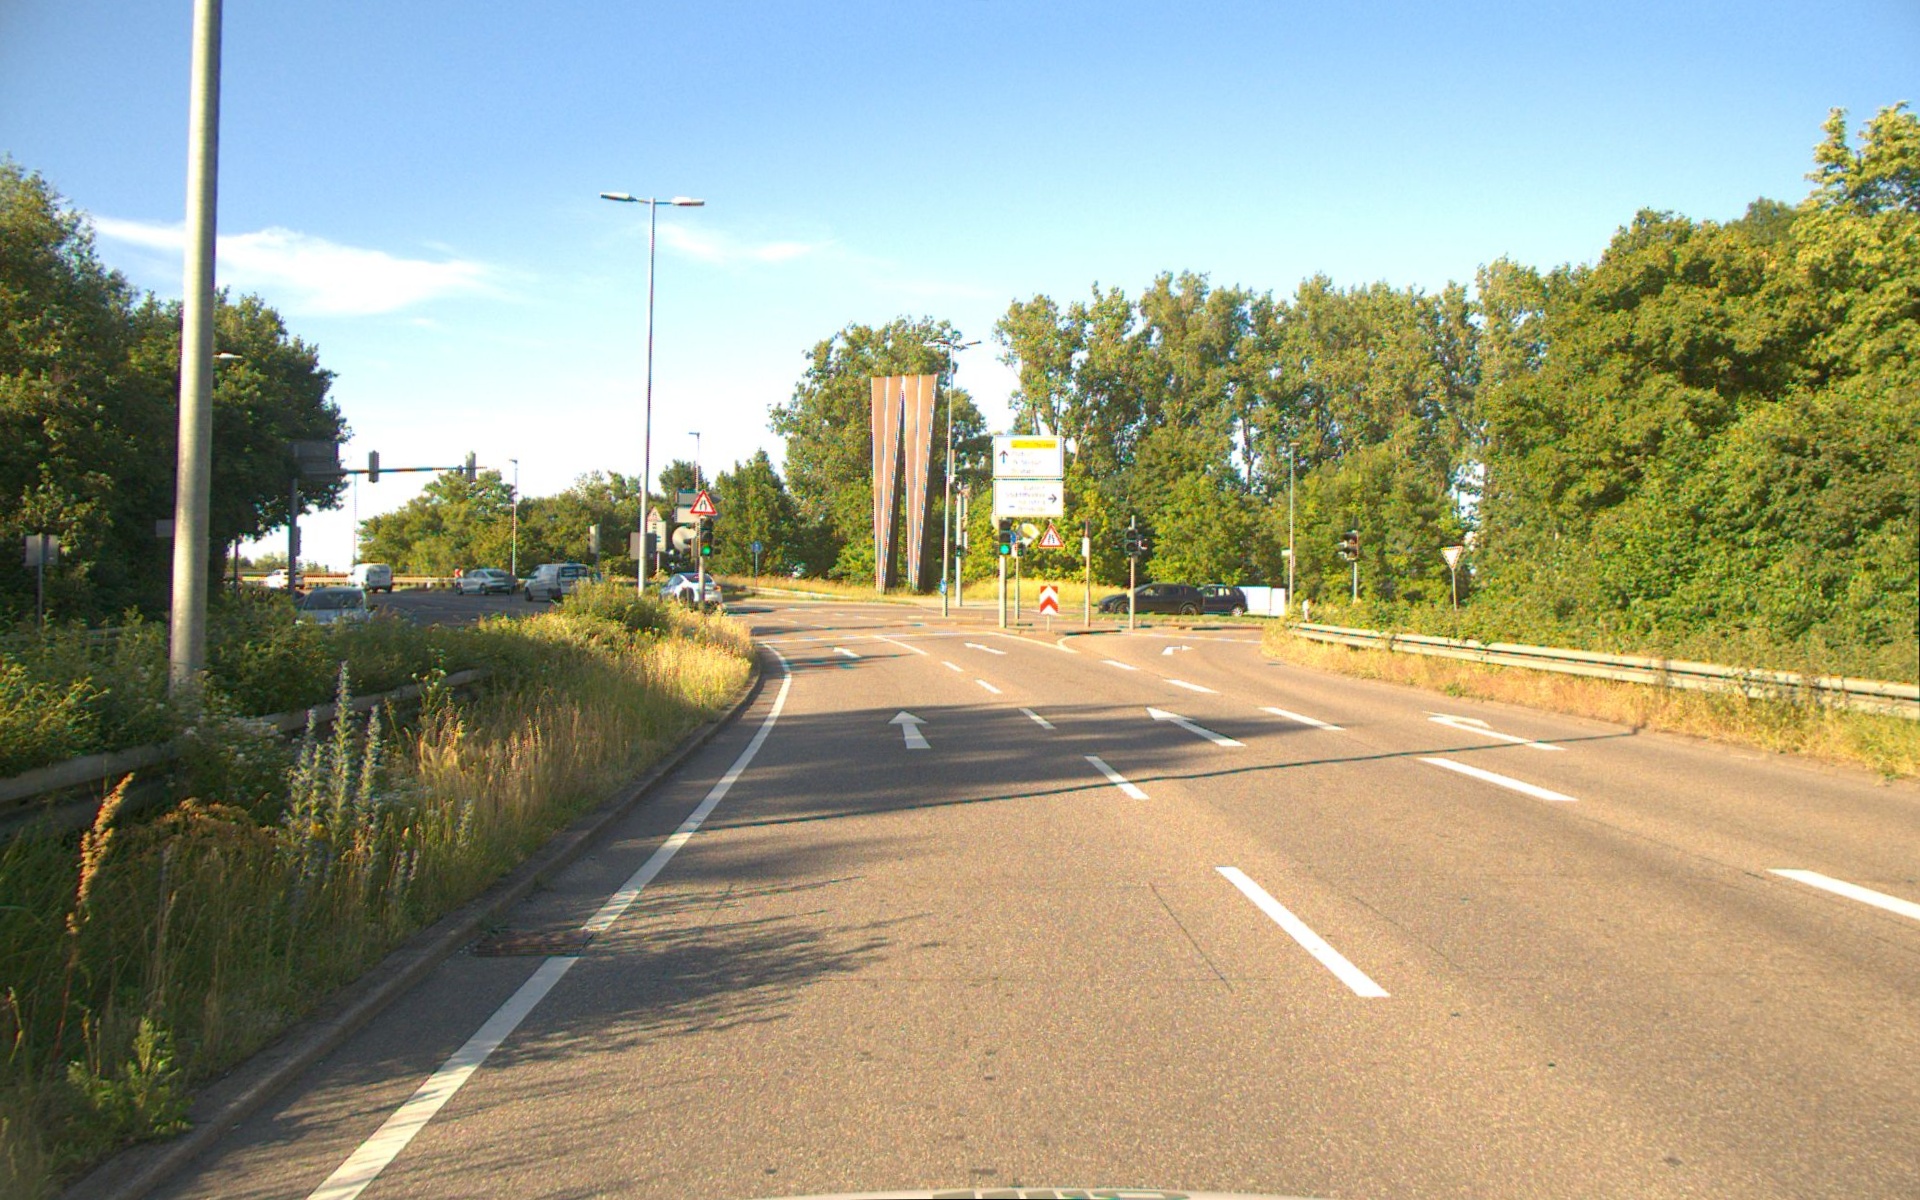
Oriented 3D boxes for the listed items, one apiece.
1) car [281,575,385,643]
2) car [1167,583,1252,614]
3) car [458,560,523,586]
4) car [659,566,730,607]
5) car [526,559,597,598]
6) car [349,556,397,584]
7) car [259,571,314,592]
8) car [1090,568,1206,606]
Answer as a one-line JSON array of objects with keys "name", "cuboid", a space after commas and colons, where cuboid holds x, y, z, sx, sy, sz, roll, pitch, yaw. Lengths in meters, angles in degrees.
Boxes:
[{"name": "car", "cuboid": [-15.343, 0.184, 40.680, 1.853, 1.547, 4.202, -1, 1, -14]}, {"name": "car", "cuboid": [11.506, -0.058, 76.457, 3.618, 1.411, 1.609, 0, 0, -4]}, {"name": "car", "cuboid": [-27.489, -1.603, 96.809, 1.961, 1.500, 4.086, -1, 2, -45]}, {"name": "car", "cuboid": [-11.083, -0.594, 68.928, 1.967, 1.668, 4.097, 0, 1, -24]}, {"name": "car", "cuboid": [-20.036, -1.108, 83.007, 1.979, 1.912, 4.193, -1, 1, -37]}, {"name": "car", "cuboid": [-37.335, -1.940, 105.111, 1.952, 1.728, 3.953, -1, 2, -34]}, {"name": "car", "cuboid": [-48.683, -1.327, 119.513, 3.929, 1.534, 2.260, 1, 0, 42]}, {"name": "car", "cuboid": [7.773, -0.545, 68.595, 4.376, 1.489, 1.996, 1, 1, -9]}]
